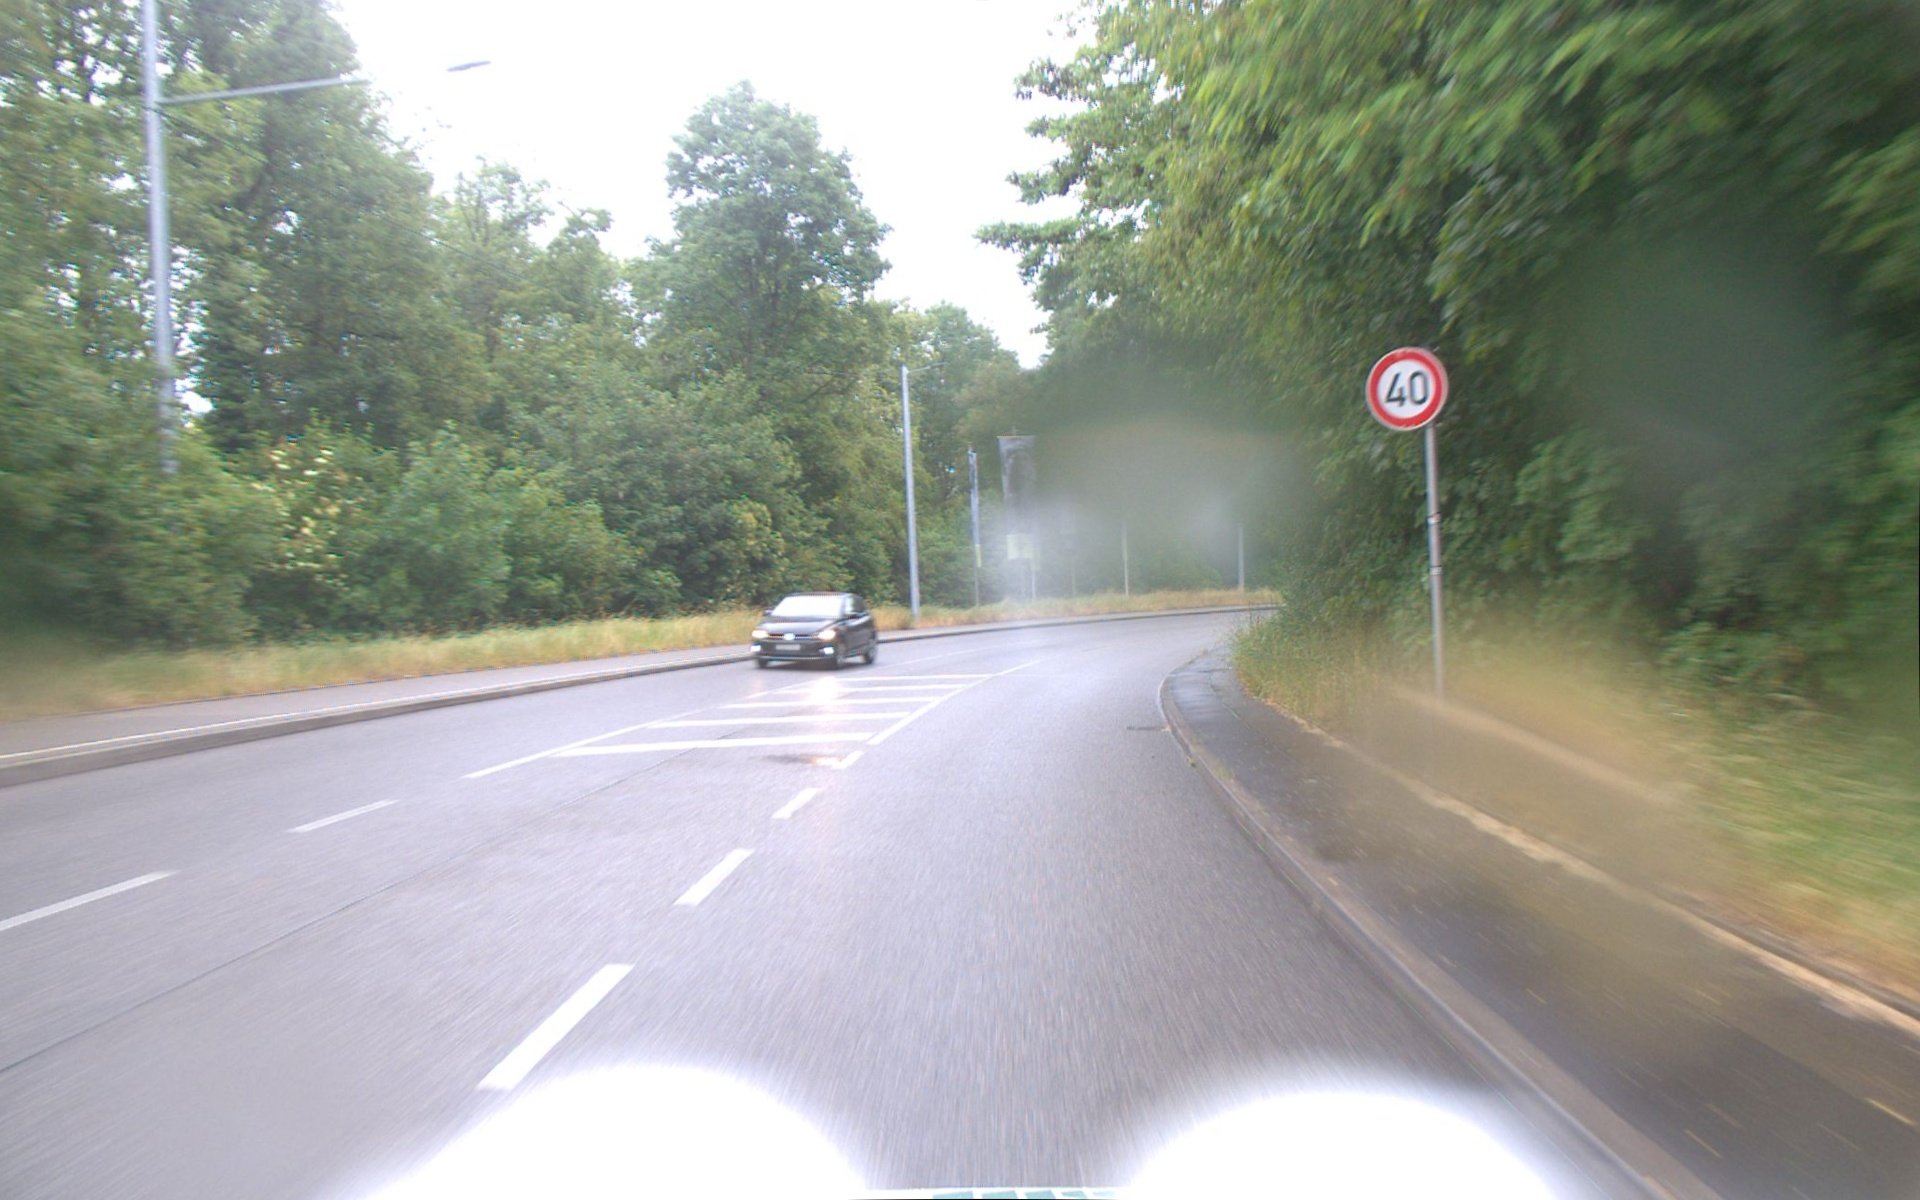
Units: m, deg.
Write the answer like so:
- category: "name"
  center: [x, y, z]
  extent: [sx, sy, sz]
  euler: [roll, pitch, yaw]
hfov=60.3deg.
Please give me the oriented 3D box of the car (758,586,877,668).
- category: "car"
  center: [-2.766, 0.491, 32.792]
  extent: [1.560, 1.503, 3.795]
  euler: [1, 0, 7]
